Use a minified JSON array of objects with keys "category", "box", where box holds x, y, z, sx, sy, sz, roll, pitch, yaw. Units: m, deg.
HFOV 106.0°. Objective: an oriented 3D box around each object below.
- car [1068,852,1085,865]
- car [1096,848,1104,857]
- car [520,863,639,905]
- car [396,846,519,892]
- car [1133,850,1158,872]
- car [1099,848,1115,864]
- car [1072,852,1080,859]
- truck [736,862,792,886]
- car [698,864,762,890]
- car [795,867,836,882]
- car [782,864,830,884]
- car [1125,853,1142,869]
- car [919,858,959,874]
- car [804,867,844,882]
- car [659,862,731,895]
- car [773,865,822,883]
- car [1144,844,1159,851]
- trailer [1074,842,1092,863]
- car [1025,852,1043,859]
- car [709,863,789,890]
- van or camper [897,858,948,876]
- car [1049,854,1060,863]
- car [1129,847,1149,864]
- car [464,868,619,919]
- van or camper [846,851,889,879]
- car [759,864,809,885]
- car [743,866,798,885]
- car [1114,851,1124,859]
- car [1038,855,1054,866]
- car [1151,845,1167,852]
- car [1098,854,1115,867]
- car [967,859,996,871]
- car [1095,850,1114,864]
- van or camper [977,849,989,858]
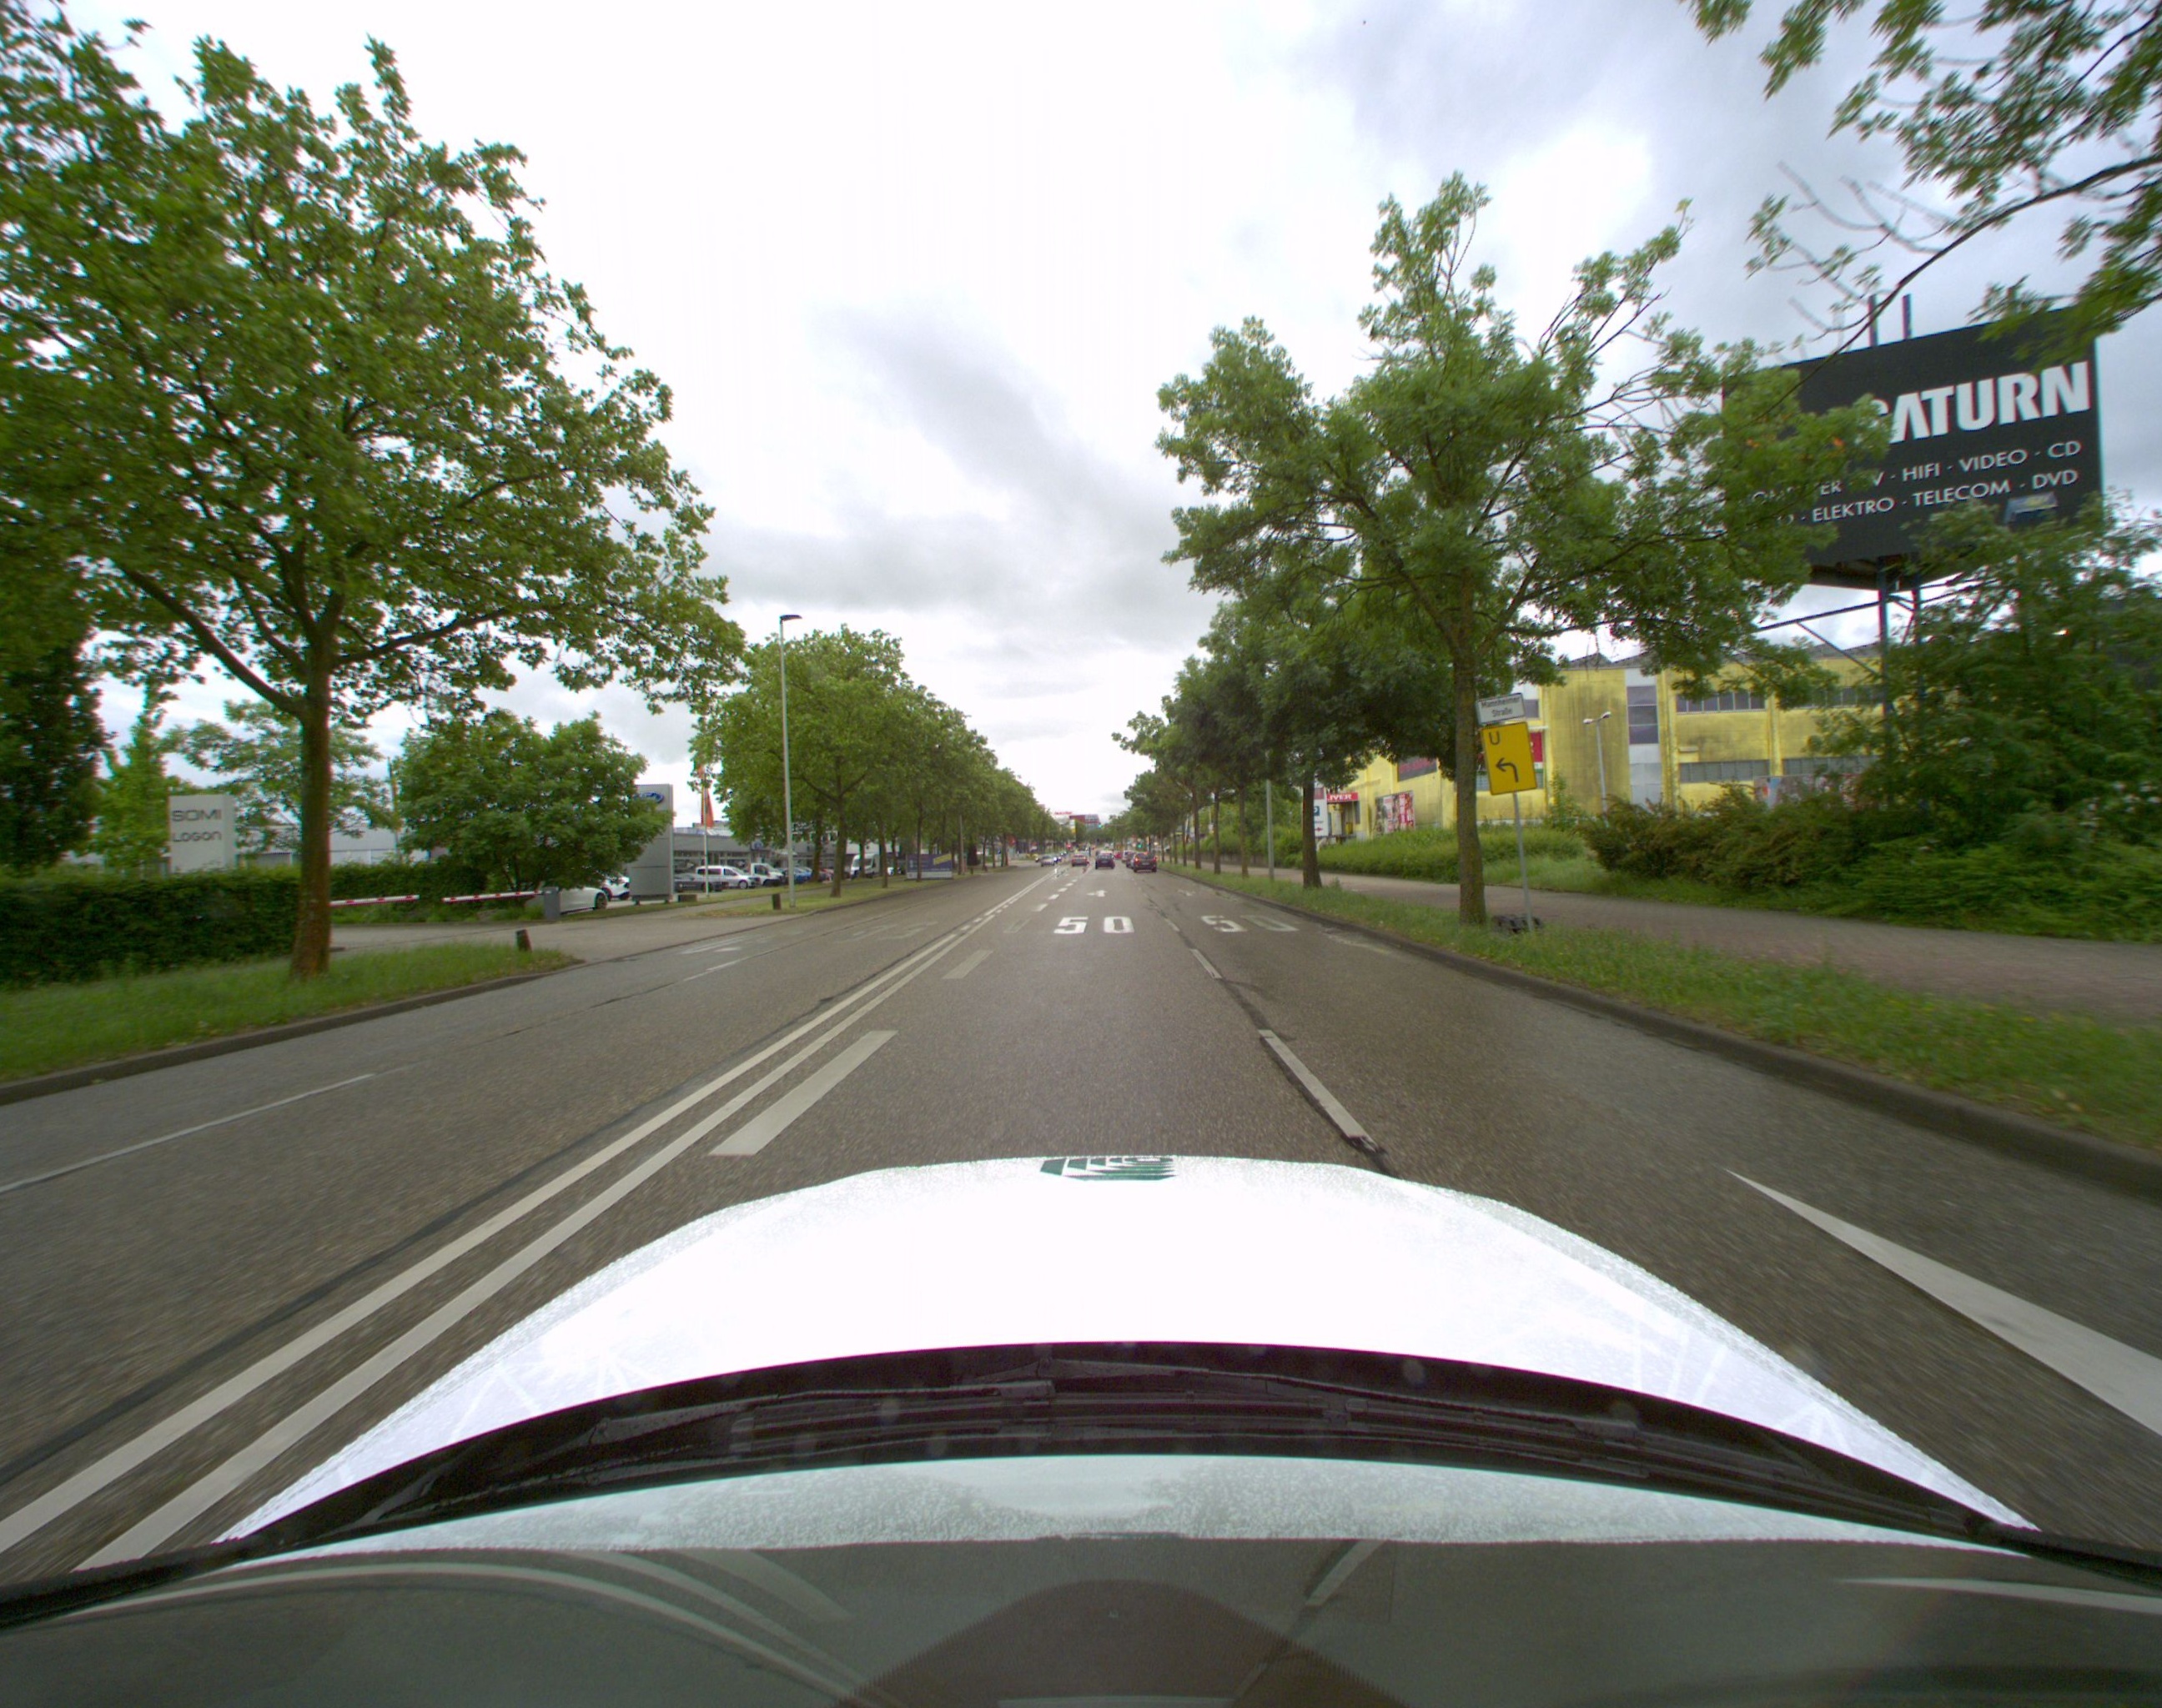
[{"category":"car","box":[-0.539,0.529,102.488,1.900,1.578,4.882,-3,0,1]},{"category":"car","box":[4.576,-0.354,197.899,1.986,2.014,4.002,-1,-1,2]},{"category":"car","box":[-27.159,1.610,44.208,5.030,2.013,2.129,-2,0,-1]},{"category":"car","box":[-28.018,0.652,36.673,3.971,1.889,1.964,-2,0,2]},{"category":"car","box":[5.141,0.515,65.655,1.720,1.624,4.472,-2,0,1]},{"category":"car","box":[3.363,0.331,105.477,1.986,2.014,4.001,-1,-1,1]},{"category":"car","box":[-1.053,0.248,175.686,1.678,1.377,3.997,-3,0,-2]},{"category":"truck","box":[-26.871,1.675,69.221,3.985,1.838,1.994,-2,0,-9]},{"category":"car","box":[-26.769,1.740,62.251,3.976,1.766,1.881,-2,0,-1]},{"category":"car","box":[-28.347,2.176,87.002,3.867,1.467,1.605,-2,0,13]},{"category":"car","box":[-26.921,1.970,79.766,3.955,1.766,1.873,-2,0,17]},{"category":"car","box":[5.725,0.749,89.339,1.794,1.587,4.453,0,0,2]},{"category":"car","box":[-17.609,1.511,101.083,4.471,1.816,1.986,-2,0,-22]},{"category":"car","box":[-28.384,2.265,89.998,3.959,1.467,1.605,-2,0,13]},{"category":"car","box":[-26.555,1.673,56.140,3.976,2.013,1.881,-2,0,-1]},{"category":"car","box":[-26.869,1.926,77.191,3.957,1.520,1.873,-2,0,15]},{"category":"car","box":[19.427,-1.783,224.979,4.094,1.904,1.801,-3,1,2]},{"category":"trailer","box":[0.252,-0.185,117.684,2.365,2.897,5.545,-3,0,0]},{"category":"car","box":[-11.454,0.300,196.903,3.948,1.552,1.912,-3,1,35]},{"category":"car","box":[-26.773,1.788,65.888,5.362,1.903,2.414,-2,0,-2]},{"category":"van or camper","box":[-18.252,1.490,93.697,5.308,1.821,2.248,-3,0,-25]},{"category":"car","box":[-4.834,0.740,145.865,1.664,1.462,4.173,-3,0,-5]},{"category":"car","box":[5.538,0.140,78.161,1.794,1.544,4.622,0,0,2]},{"category":"car","box":[-19.604,1.371,29.974,2.111,1.496,5.247,-3,0,1]},{"category":"van or camper","box":[-19.555,0.951,74.916,1.986,2.470,6.404,-1,0,2]},{"category":"car","box":[-27.194,1.890,74.586,3.956,1.766,1.873,-2,0,16]},{"category":"car","box":[-27.454,1.890,72.109,3.969,1.461,2.036,-2,0,4]},{"category":"car","box":[6.967,0.226,149.704,1.689,1.443,3.991,-2,0,2]},{"category":"car","box":[-4.894,0.865,113.166,1.990,1.429,4.678,-3,0,-4]},{"category":"car","box":[18.678,-1.253,195.479,3.617,1.536,1.625,-3,0,-39]},{"category":"car","box":[2.872,0.709,92.050,1.678,1.377,3.997,-3,0,-2]},{"category":"car","box":[-15.687,1.721,128.456,4.236,1.596,1.985,-4,1,-23]},{"category":"car","box":[2.316,0.290,81.331,1.775,1.398,4.000,-1,0,1]},{"category":"van or camper","box":[-21.040,-0.117,175.405,1.986,1.967,4.789,-1,-1,1]}]
